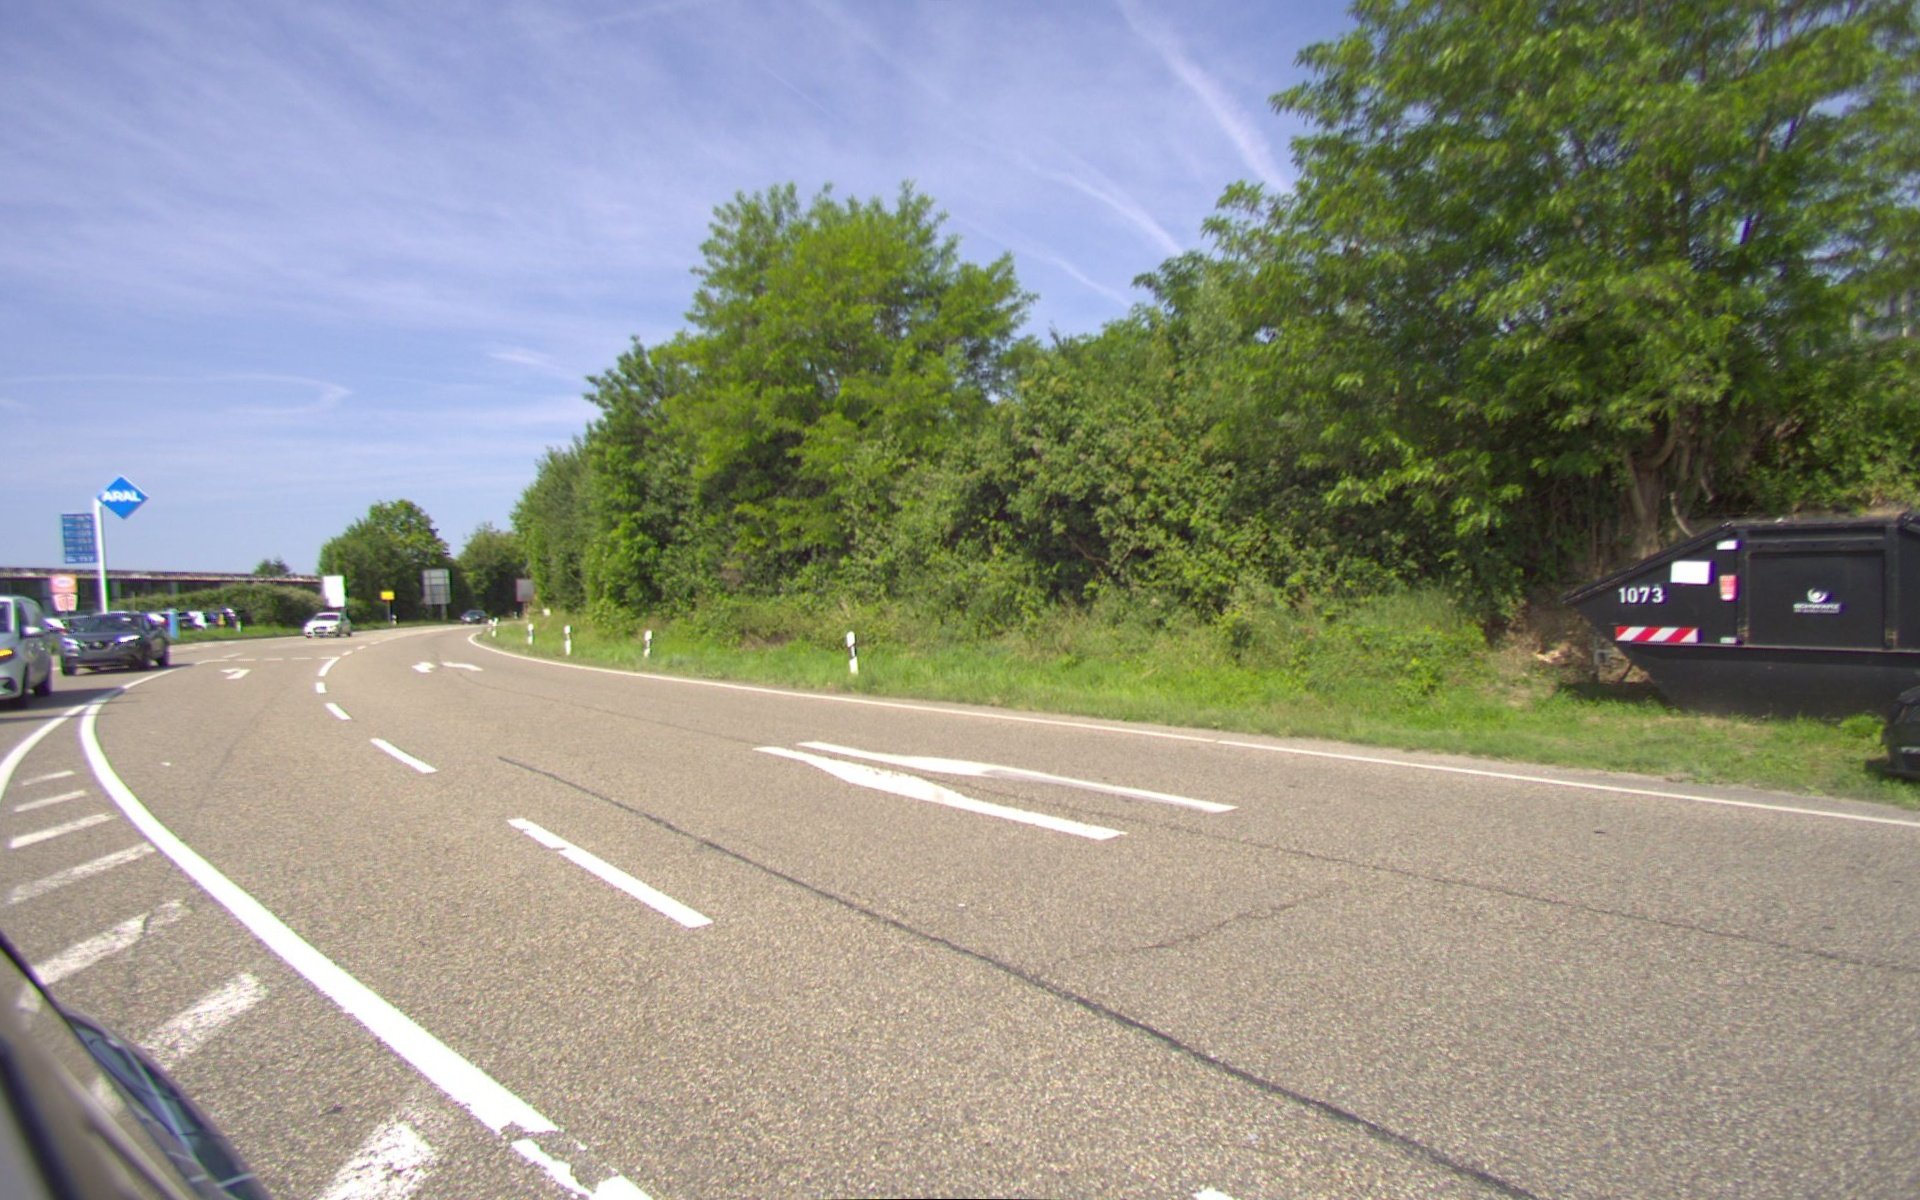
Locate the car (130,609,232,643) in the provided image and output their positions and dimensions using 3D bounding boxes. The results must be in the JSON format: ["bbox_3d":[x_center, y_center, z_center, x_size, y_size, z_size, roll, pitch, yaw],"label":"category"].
[{"bbox_3d":[-43.980,1.457,57.223,4.187,1.651,1.827,-3,-1,-14],"label":"car"}]

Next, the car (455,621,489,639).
[{"bbox_3d":[-50.077,3.080,103.907,1.839,1.653,4.430,-2,0,-8],"label":"car"}]

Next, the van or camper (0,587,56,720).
[{"bbox_3d":[-16.907,0.897,17.093,1.968,2.029,5.301,-3,0,-37],"label":"van or camper"}]

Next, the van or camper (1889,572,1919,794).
[{"bbox_3d":[8.702,0.529,6.014,1.619,1.535,4.475,-3,1,-39],"label":"van or camper"}]

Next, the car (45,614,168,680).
[{"bbox_3d":[-22.715,1.196,27.093,1.791,1.552,3.738,-3,0,-29],"label":"car"}]

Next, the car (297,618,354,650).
[{"bbox_3d":[-36.908,1.915,58.965,1.837,1.653,4.435,-2,0,-19],"label":"car"}]

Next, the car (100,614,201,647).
[{"bbox_3d":[-47.174,1.781,59.054,4.187,1.651,1.827,-3,-1,-14],"label":"car"}]
